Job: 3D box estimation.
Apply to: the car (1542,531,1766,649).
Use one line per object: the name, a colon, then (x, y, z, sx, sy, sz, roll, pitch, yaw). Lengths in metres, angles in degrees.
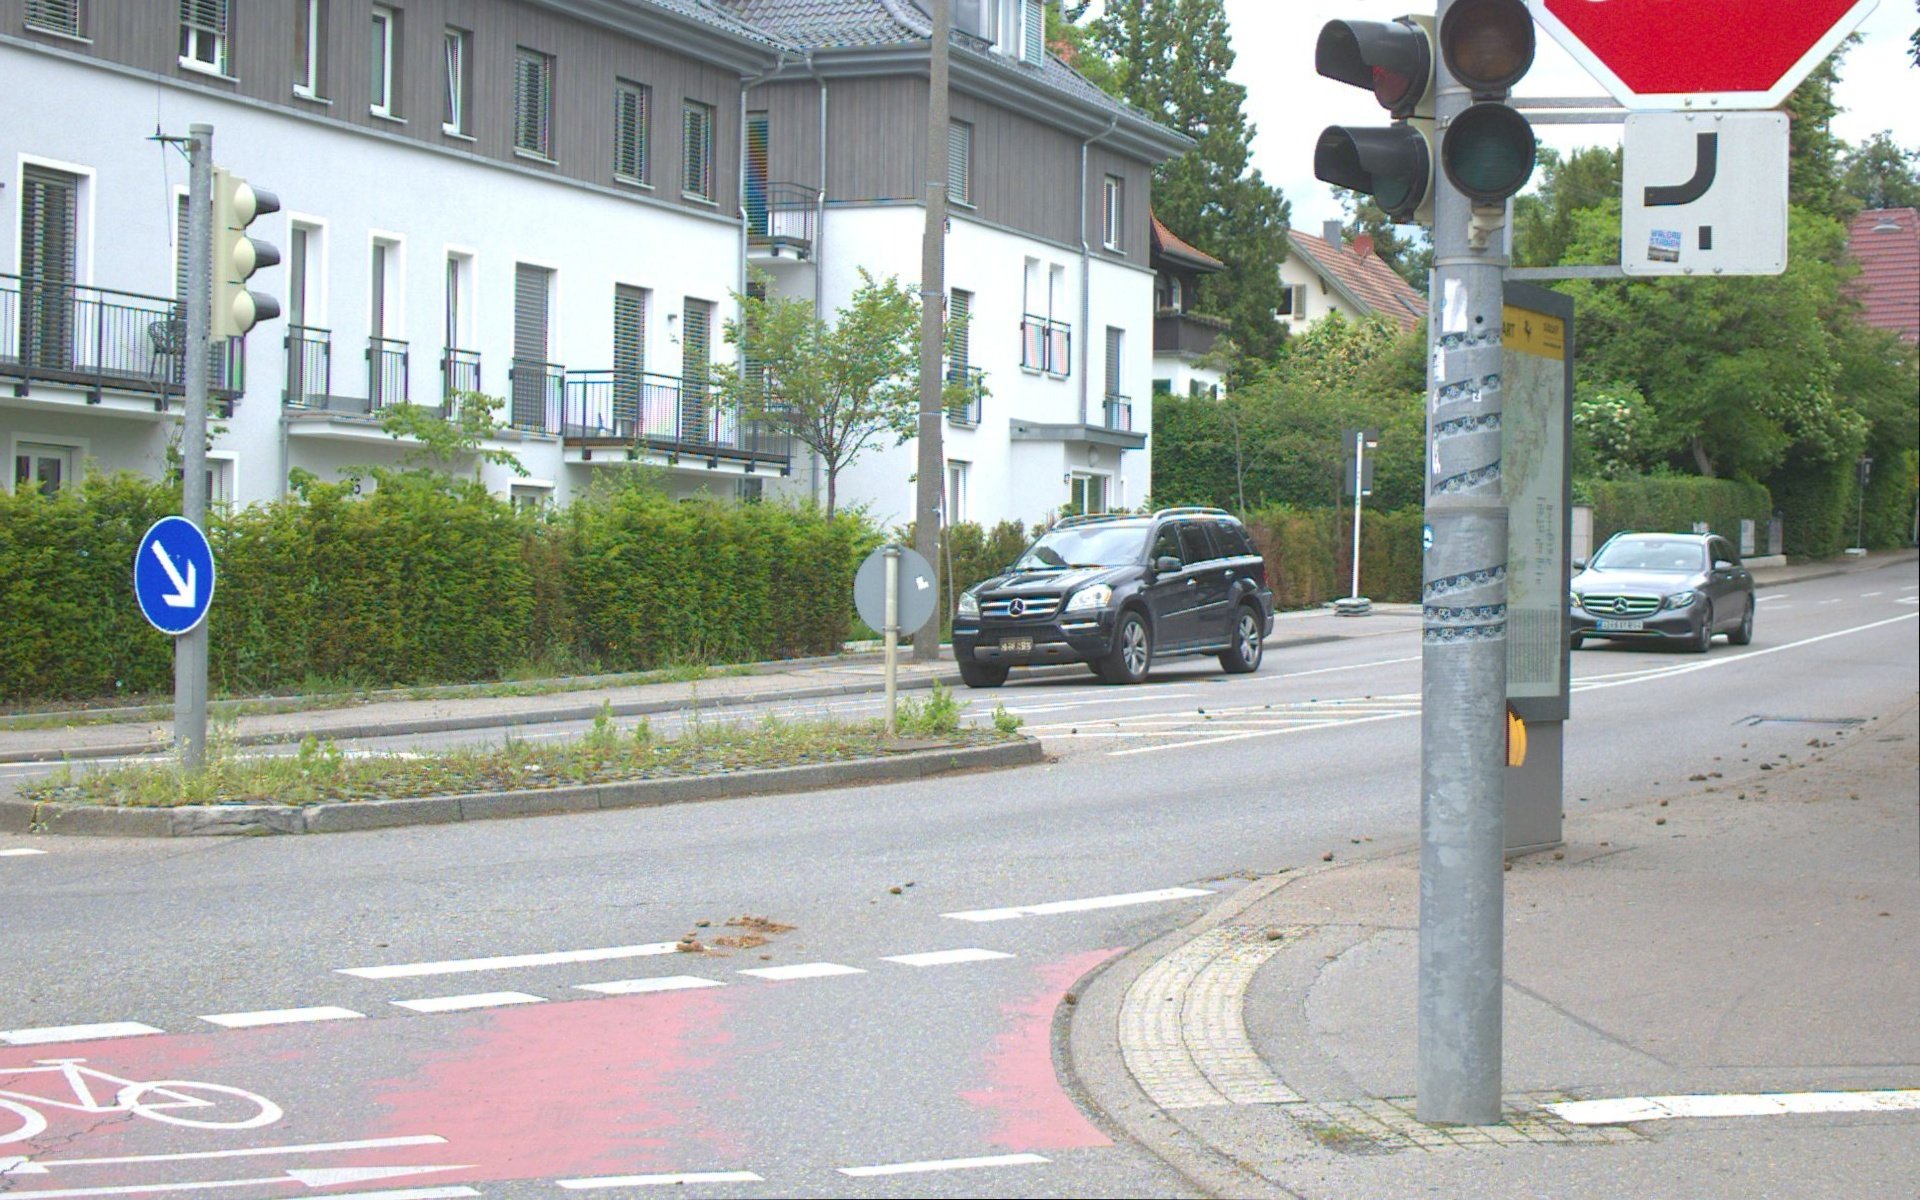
car: (8.968, -0.168, 44.154, 1.941, 1.399, 4.737, 1, 2, 22)

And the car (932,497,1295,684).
car: (1.759, -0.116, 37.166, 1.915, 1.874, 5.134, -1, 0, 27)
